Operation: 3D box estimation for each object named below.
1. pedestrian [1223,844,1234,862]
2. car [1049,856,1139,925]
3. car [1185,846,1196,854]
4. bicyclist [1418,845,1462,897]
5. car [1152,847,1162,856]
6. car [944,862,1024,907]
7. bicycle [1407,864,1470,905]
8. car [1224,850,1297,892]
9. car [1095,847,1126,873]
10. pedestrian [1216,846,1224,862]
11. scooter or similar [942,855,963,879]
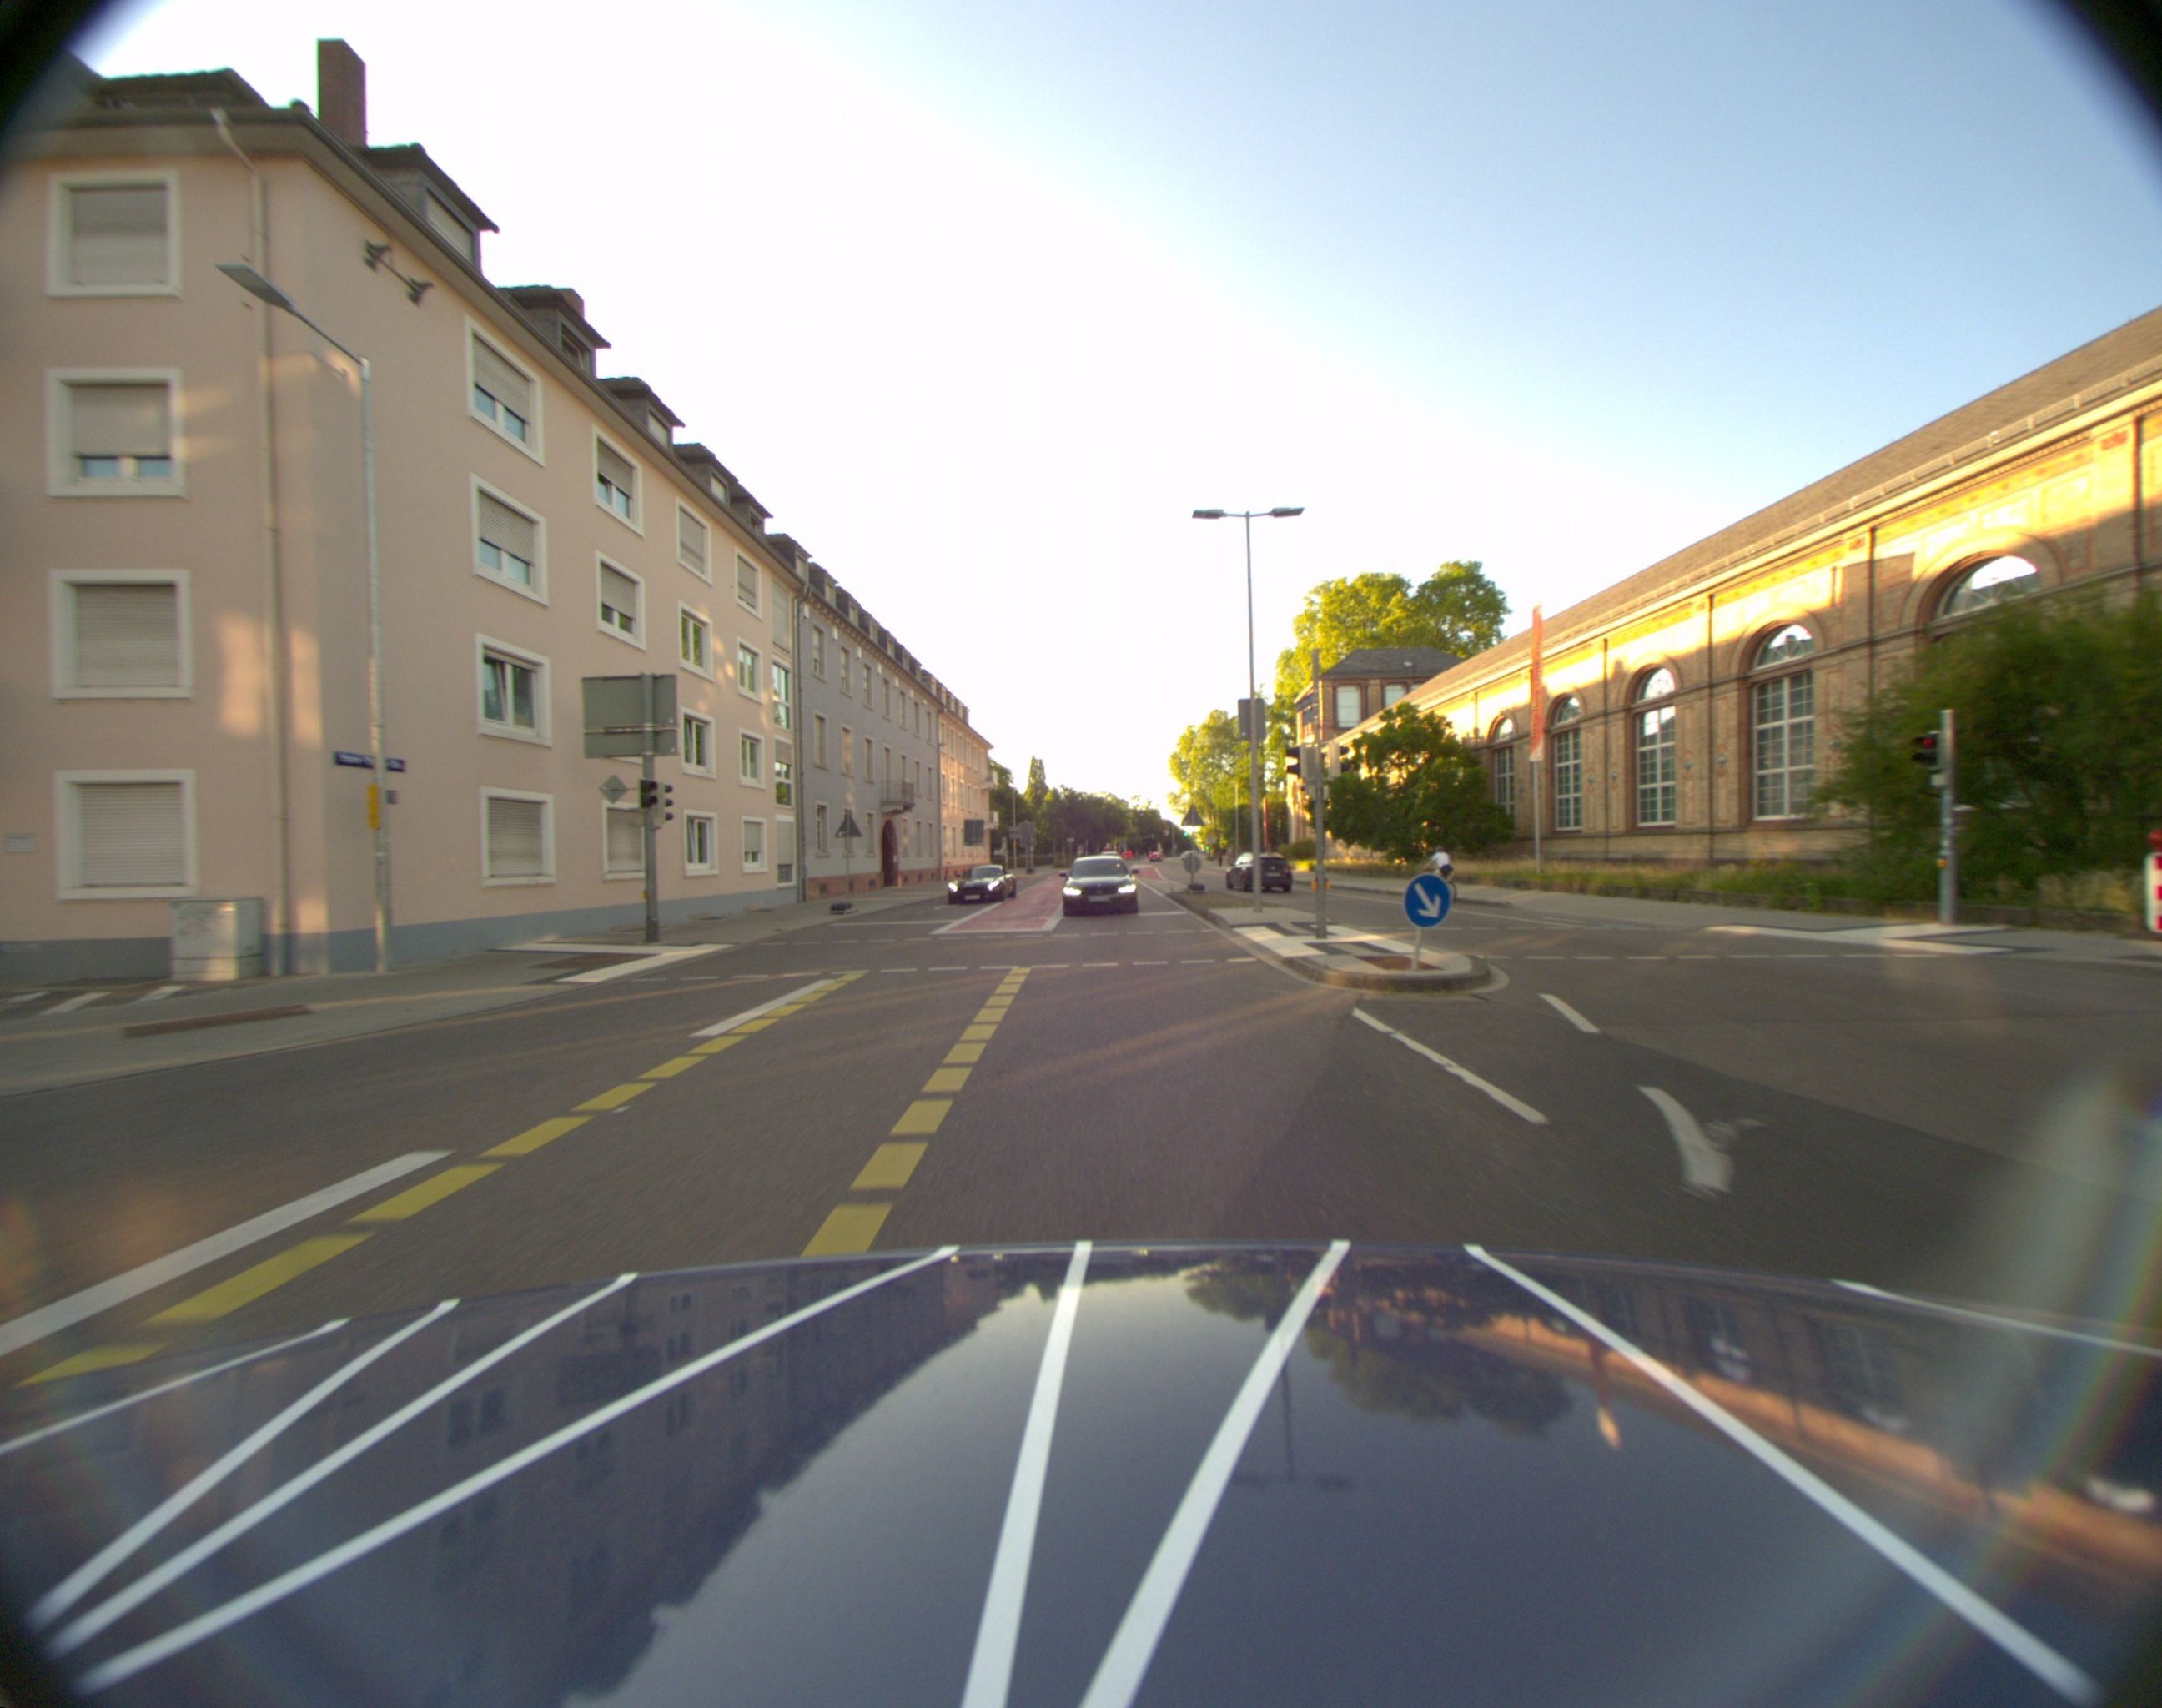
[{"bbox_3d":[14.258,-0.094,73.475,0.807,1.728,0.851,-1,1,26],"label":"pedestrian"},{"bbox_3d":[0.450,0.821,19.289,1.963,1.379,4.781,-2,1,4],"label":"car"},{"bbox_3d":[21.795,-0.822,151.077,1.919,1.674,4.002,-1,1,9],"label":"car"},{"bbox_3d":[10.331,0.479,21.903,0.749,1.452,0.937,0,1,-5],"label":"bicyclist"},{"bbox_3d":[13.282,-0.418,132.733,1.775,1.455,4.001,0,1,6],"label":"car"},{"bbox_3d":[-3.411,1.044,27.556,2.183,1.293,4.357,-3,1,2],"label":"car"},{"bbox_3d":[10.323,0.856,22.012,0.755,1.084,1.931,1,1,-5],"label":"bicycle"},{"bbox_3d":[6.893,0.592,29.581,1.828,1.499,4.426,0,1,1],"label":"car"},{"bbox_3d":[2.091,0.400,55.404,1.839,1.674,4.221,-3,1,-3],"label":"car"},{"bbox_3d":[13.492,0.009,73.703,0.675,1.504,0.836,-1,-1,4],"label":"pedestrian"},{"bbox_3d":[-8.179,0.838,48.470,0.726,1.450,1.673,1,1,12],"label":"scooter or similar"}]
